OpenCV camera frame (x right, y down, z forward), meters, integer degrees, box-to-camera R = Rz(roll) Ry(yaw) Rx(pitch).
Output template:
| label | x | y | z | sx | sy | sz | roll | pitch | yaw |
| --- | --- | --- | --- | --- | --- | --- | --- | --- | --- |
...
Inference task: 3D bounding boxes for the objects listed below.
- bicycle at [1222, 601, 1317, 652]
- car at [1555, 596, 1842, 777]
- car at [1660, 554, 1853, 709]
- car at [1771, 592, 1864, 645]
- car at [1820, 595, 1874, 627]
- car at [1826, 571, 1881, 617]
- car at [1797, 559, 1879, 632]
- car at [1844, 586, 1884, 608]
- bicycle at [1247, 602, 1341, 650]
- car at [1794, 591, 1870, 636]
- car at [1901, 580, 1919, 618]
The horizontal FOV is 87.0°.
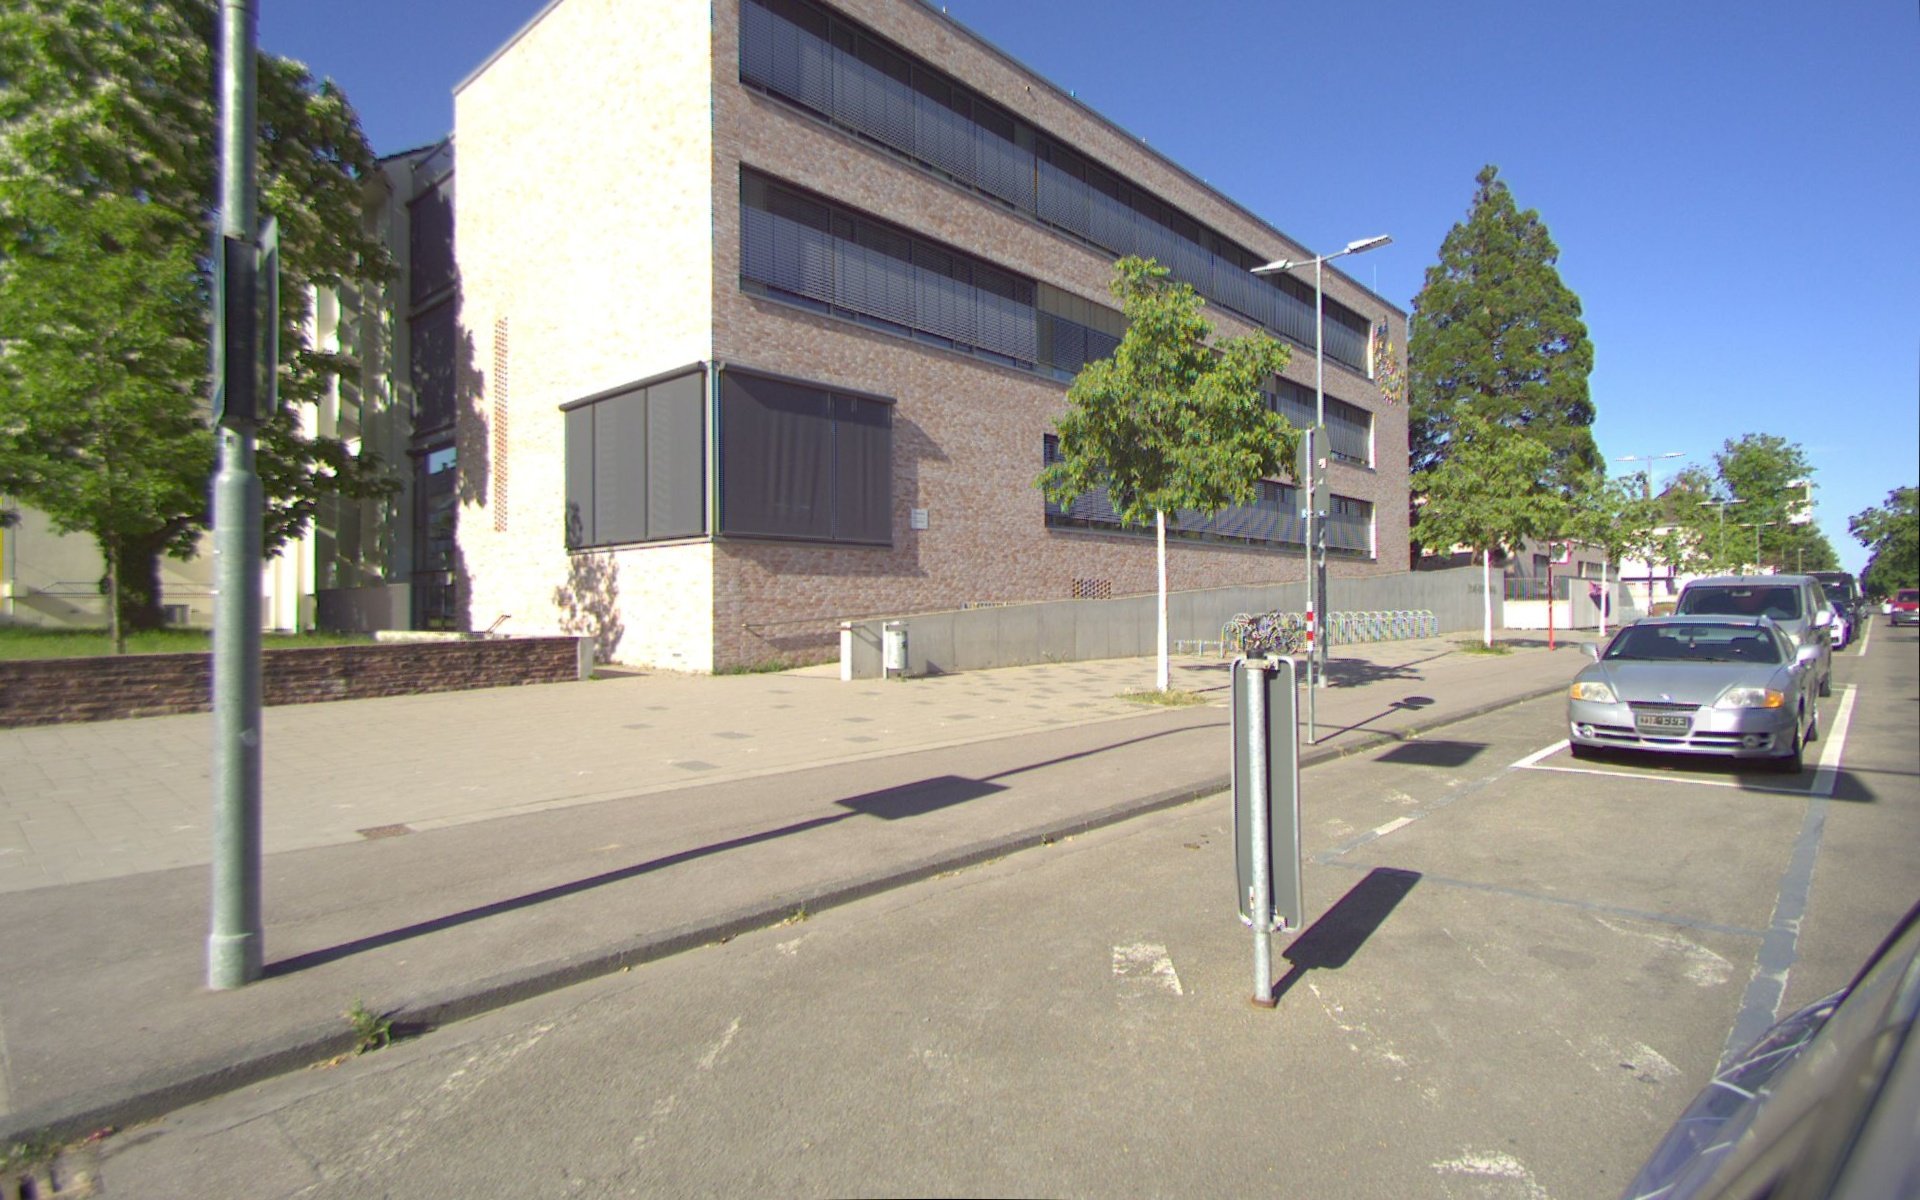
| label | x | y | z | sx | sy | sz | roll | pitch | yaw |
| --- | --- | --- | --- | --- | --- | --- | --- | --- | --- |
| bicycle | 7.492 | 0.618 | 24.569 | 2.024 | 1.076 | 0.869 | 3 | 2 | 43 |
| car | 7.456 | 0.654 | 9.988 | 1.648 | 1.349 | 4.856 | -1 | 0 | 44 |
| car | 11.805 | 0.385 | 14.875 | 1.783 | 1.935 | 4.553 | -1 | -1 | 44 |
| car | 25.049 | 0.494 | 29.523 | 1.820 | 1.438 | 3.976 | -1 | 0 | 44 |
| car | 41.454 | 0.490 | 47.291 | 1.711 | 1.438 | 3.862 | -1 | 0 | 44 |
| car | 54.035 | -0.349 | 61.157 | 2.190 | 2.631 | 5.949 | -1 | -1 | 44 |
| car | 34.061 | -0.172 | 39.175 | 2.069 | 2.631 | 6.104 | -1 | -1 | 44 |
| car | 67.420 | -0.229 | 75.425 | 2.051 | 1.618 | 4.679 | -1 | 0 | 44 |
| bicycle | 8.378 | 0.620 | 25.477 | 2.079 | 1.077 | 0.846 | 3 | 2 | 44 |
| car | 29.388 | 0.417 | 34.064 | 1.711 | 1.438 | 3.862 | -1 | 0 | 44 |
| car | 50.240 | -0.064 | 52.329 | 4.661 | 1.902 | 2.018 | 0 | -1 | -44 |
